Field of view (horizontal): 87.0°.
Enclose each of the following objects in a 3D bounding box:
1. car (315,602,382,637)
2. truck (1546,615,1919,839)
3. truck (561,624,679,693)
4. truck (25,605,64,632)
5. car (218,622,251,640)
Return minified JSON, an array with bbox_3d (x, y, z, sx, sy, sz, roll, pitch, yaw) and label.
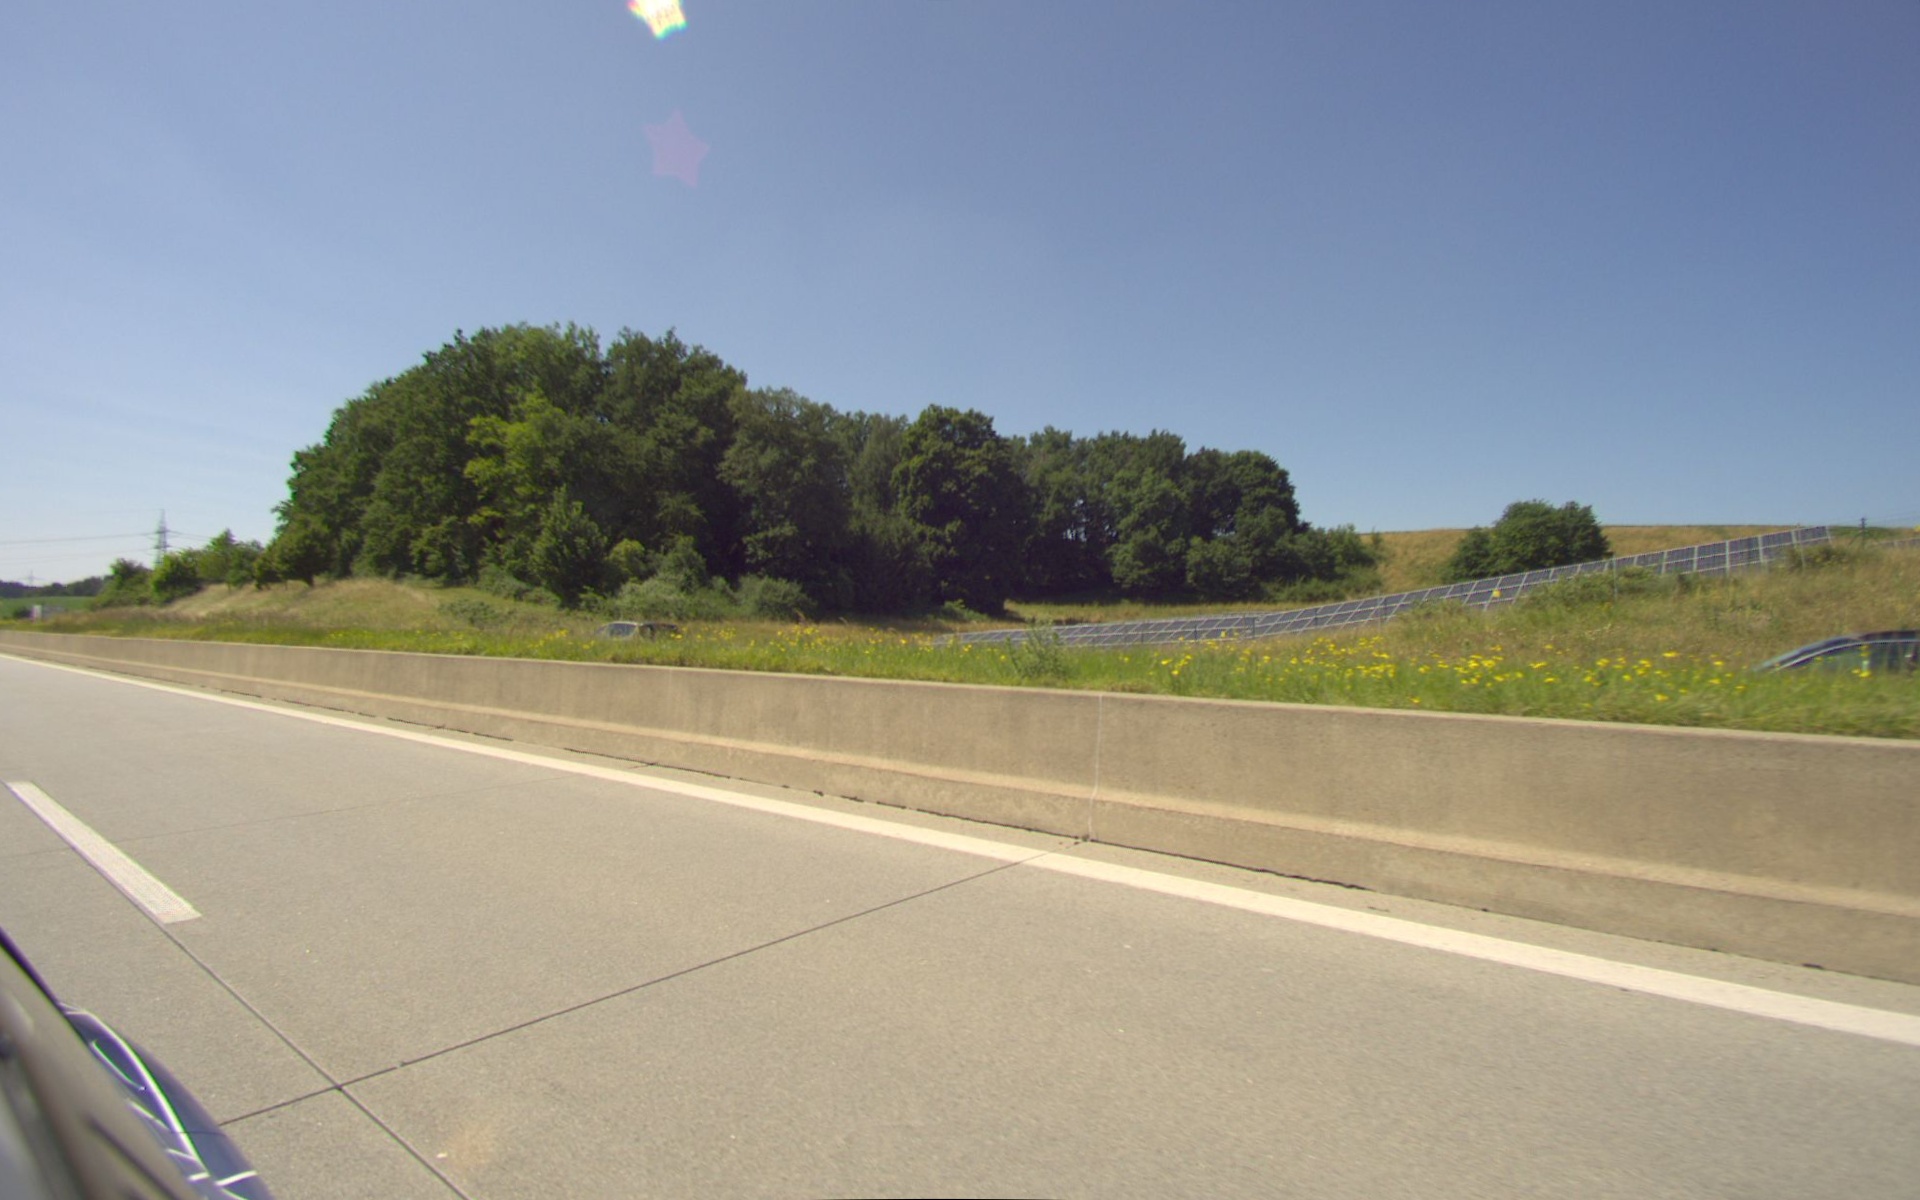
[{"bbox_3d":[-33.307,1.051,55.113,3.998,1.756,1.973,-1,1,41],"label":"car"},{"bbox_3d":[7.980,1.071,9.543,3.969,1.830,1.803,-1,-1,41],"label":"truck"},{"bbox_3d":[-9.792,1.616,29.032,3.578,1.830,1.640,-1,-1,41],"label":"truck"},{"bbox_3d":[-122.909,2.482,135.841,8.256,3.378,2.864,-1,-2,42],"label":"truck"},{"bbox_3d":[-63.972,2.728,89.255,3.626,1.411,1.482,-2,2,40],"label":"car"}]
